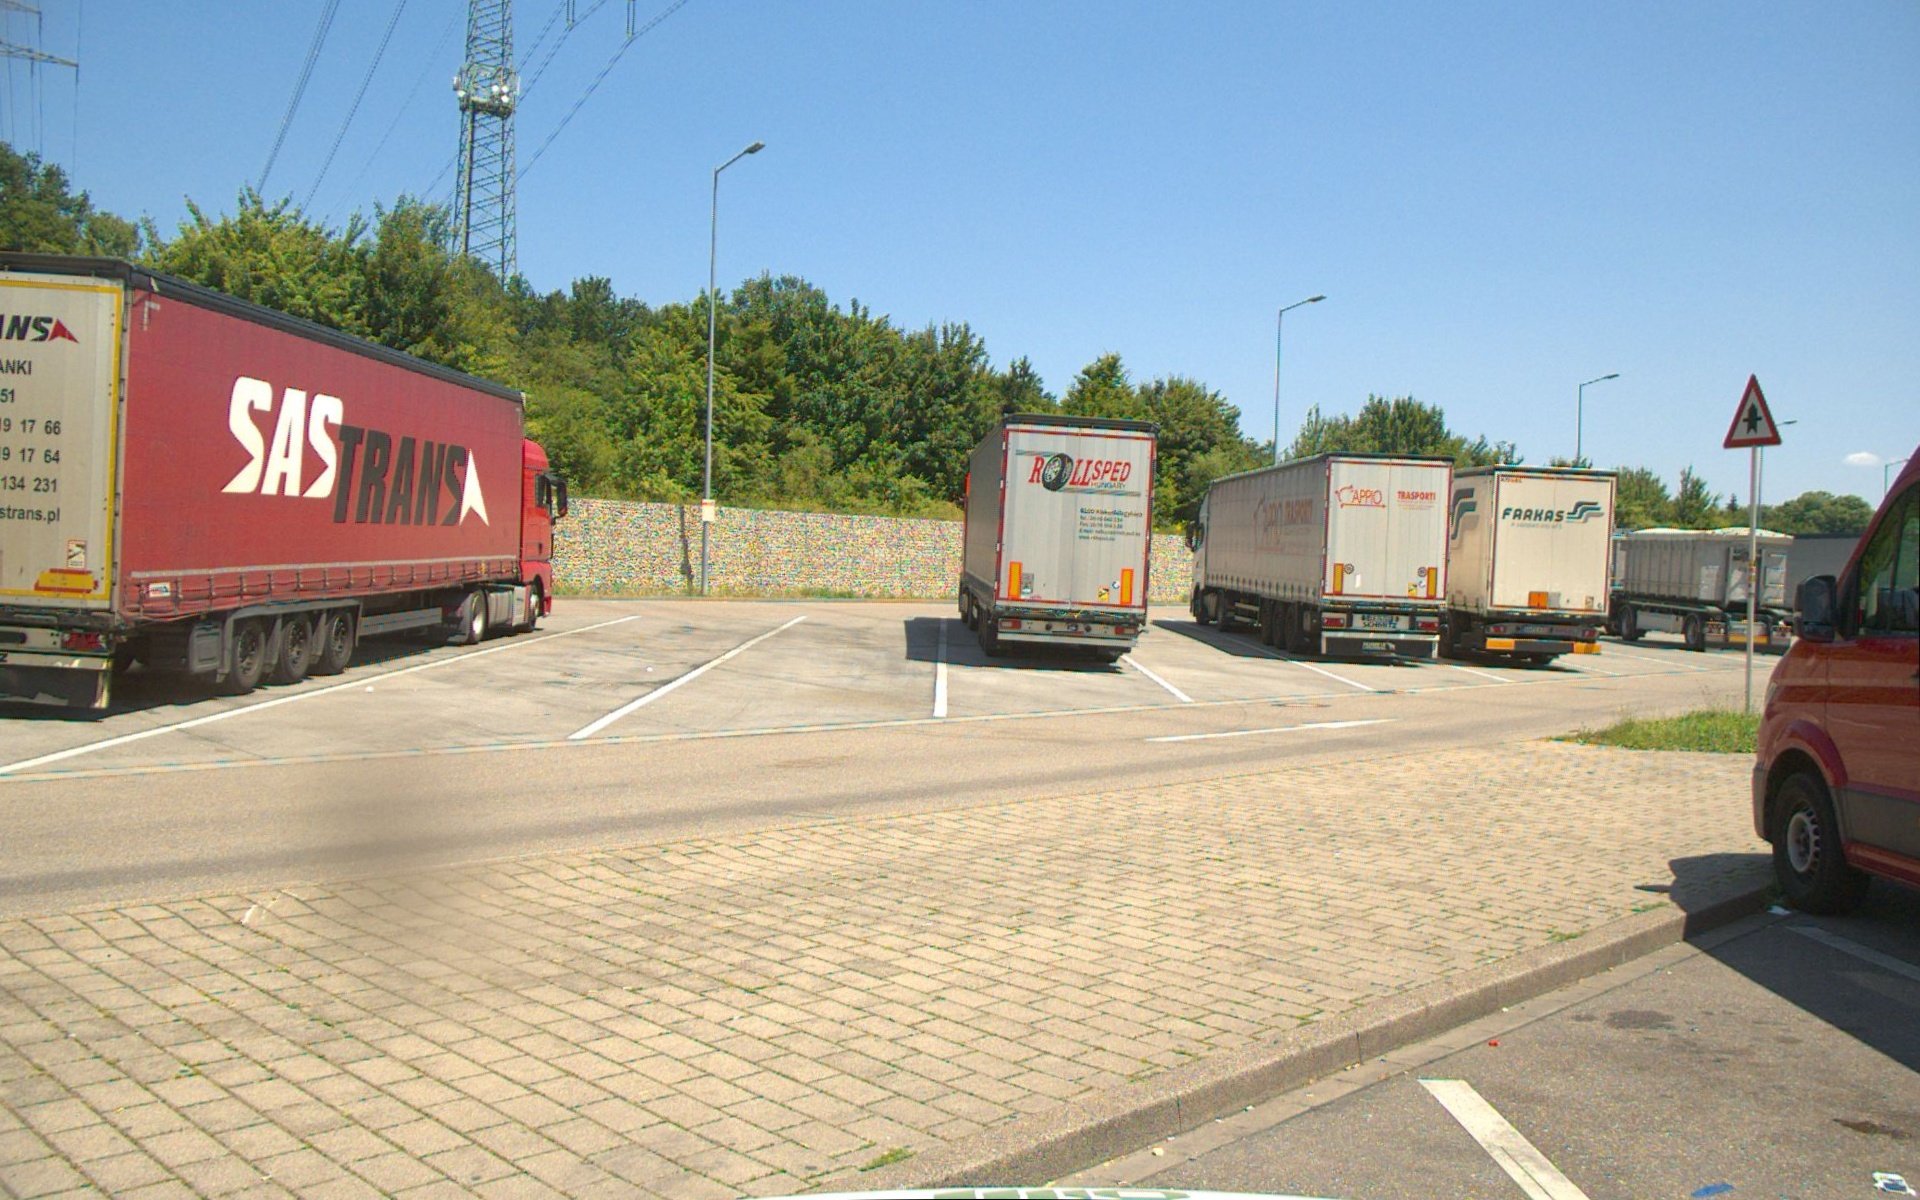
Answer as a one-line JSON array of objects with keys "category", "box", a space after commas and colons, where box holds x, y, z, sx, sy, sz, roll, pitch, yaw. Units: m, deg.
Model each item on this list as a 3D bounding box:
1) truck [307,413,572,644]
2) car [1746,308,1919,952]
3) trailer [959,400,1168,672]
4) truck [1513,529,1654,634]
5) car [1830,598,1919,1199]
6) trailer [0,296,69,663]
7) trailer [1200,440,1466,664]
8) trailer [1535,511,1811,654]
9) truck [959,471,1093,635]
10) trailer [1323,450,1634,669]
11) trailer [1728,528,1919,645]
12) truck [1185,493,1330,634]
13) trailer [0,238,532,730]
[{"category": "truck", "box": [-8.794, -1.201, 28.616, 2.794, 3.487, 5.482, 2, 2, -1]}, {"category": "car", "box": [5.007, 0.165, 5.553, 2.023, 2.742, 6.397, 1, 1, 4]}, {"category": "trailer", "box": [1.649, -1.227, 33.232, 2.848, 4.204, 13.720, 2, 2, -1]}, {"category": "truck", "box": [22.011, -0.713, 58.703, 2.794, 3.423, 5.484, 2, 2, 0]}, {"category": "car", "box": [2.596, 0.799, 1.149, 1.703, 1.508, 3.813, 1, 1, -6]}, {"category": "trailer", "box": [-12.526, -1.304, 15.698, 2.673, 4.282, 10.170, 2, 2, -1]}, {"category": "trailer", "box": [8.211, -1.136, 38.821, 2.781, 4.204, 13.722, 2, 2, -1]}, {"category": "trailer", "box": [21.929, -0.684, 52.199, 2.780, 3.781, 13.726, 2, 2, 1]}, {"category": "truck", "box": [1.482, -1.139, 39.842, 2.794, 3.544, 5.482, 2, 2, -1]}, {"category": "trailer", "box": [11.770, -1.015, 39.625, 2.781, 4.204, 13.722, 2, 2, -1]}, {"category": "trailer", "box": [34.943, -0.644, 65.401, 2.780, 4.119, 13.726, 2, 2, 1]}, {"category": "truck", "box": [8.097, -1.035, 45.630, 2.794, 3.544, 5.482, 2, 2, -1]}, {"category": "trailer", "box": [-8.681, -1.292, 21.181, 2.848, 4.203, 13.723, 2, 2, -1]}]
